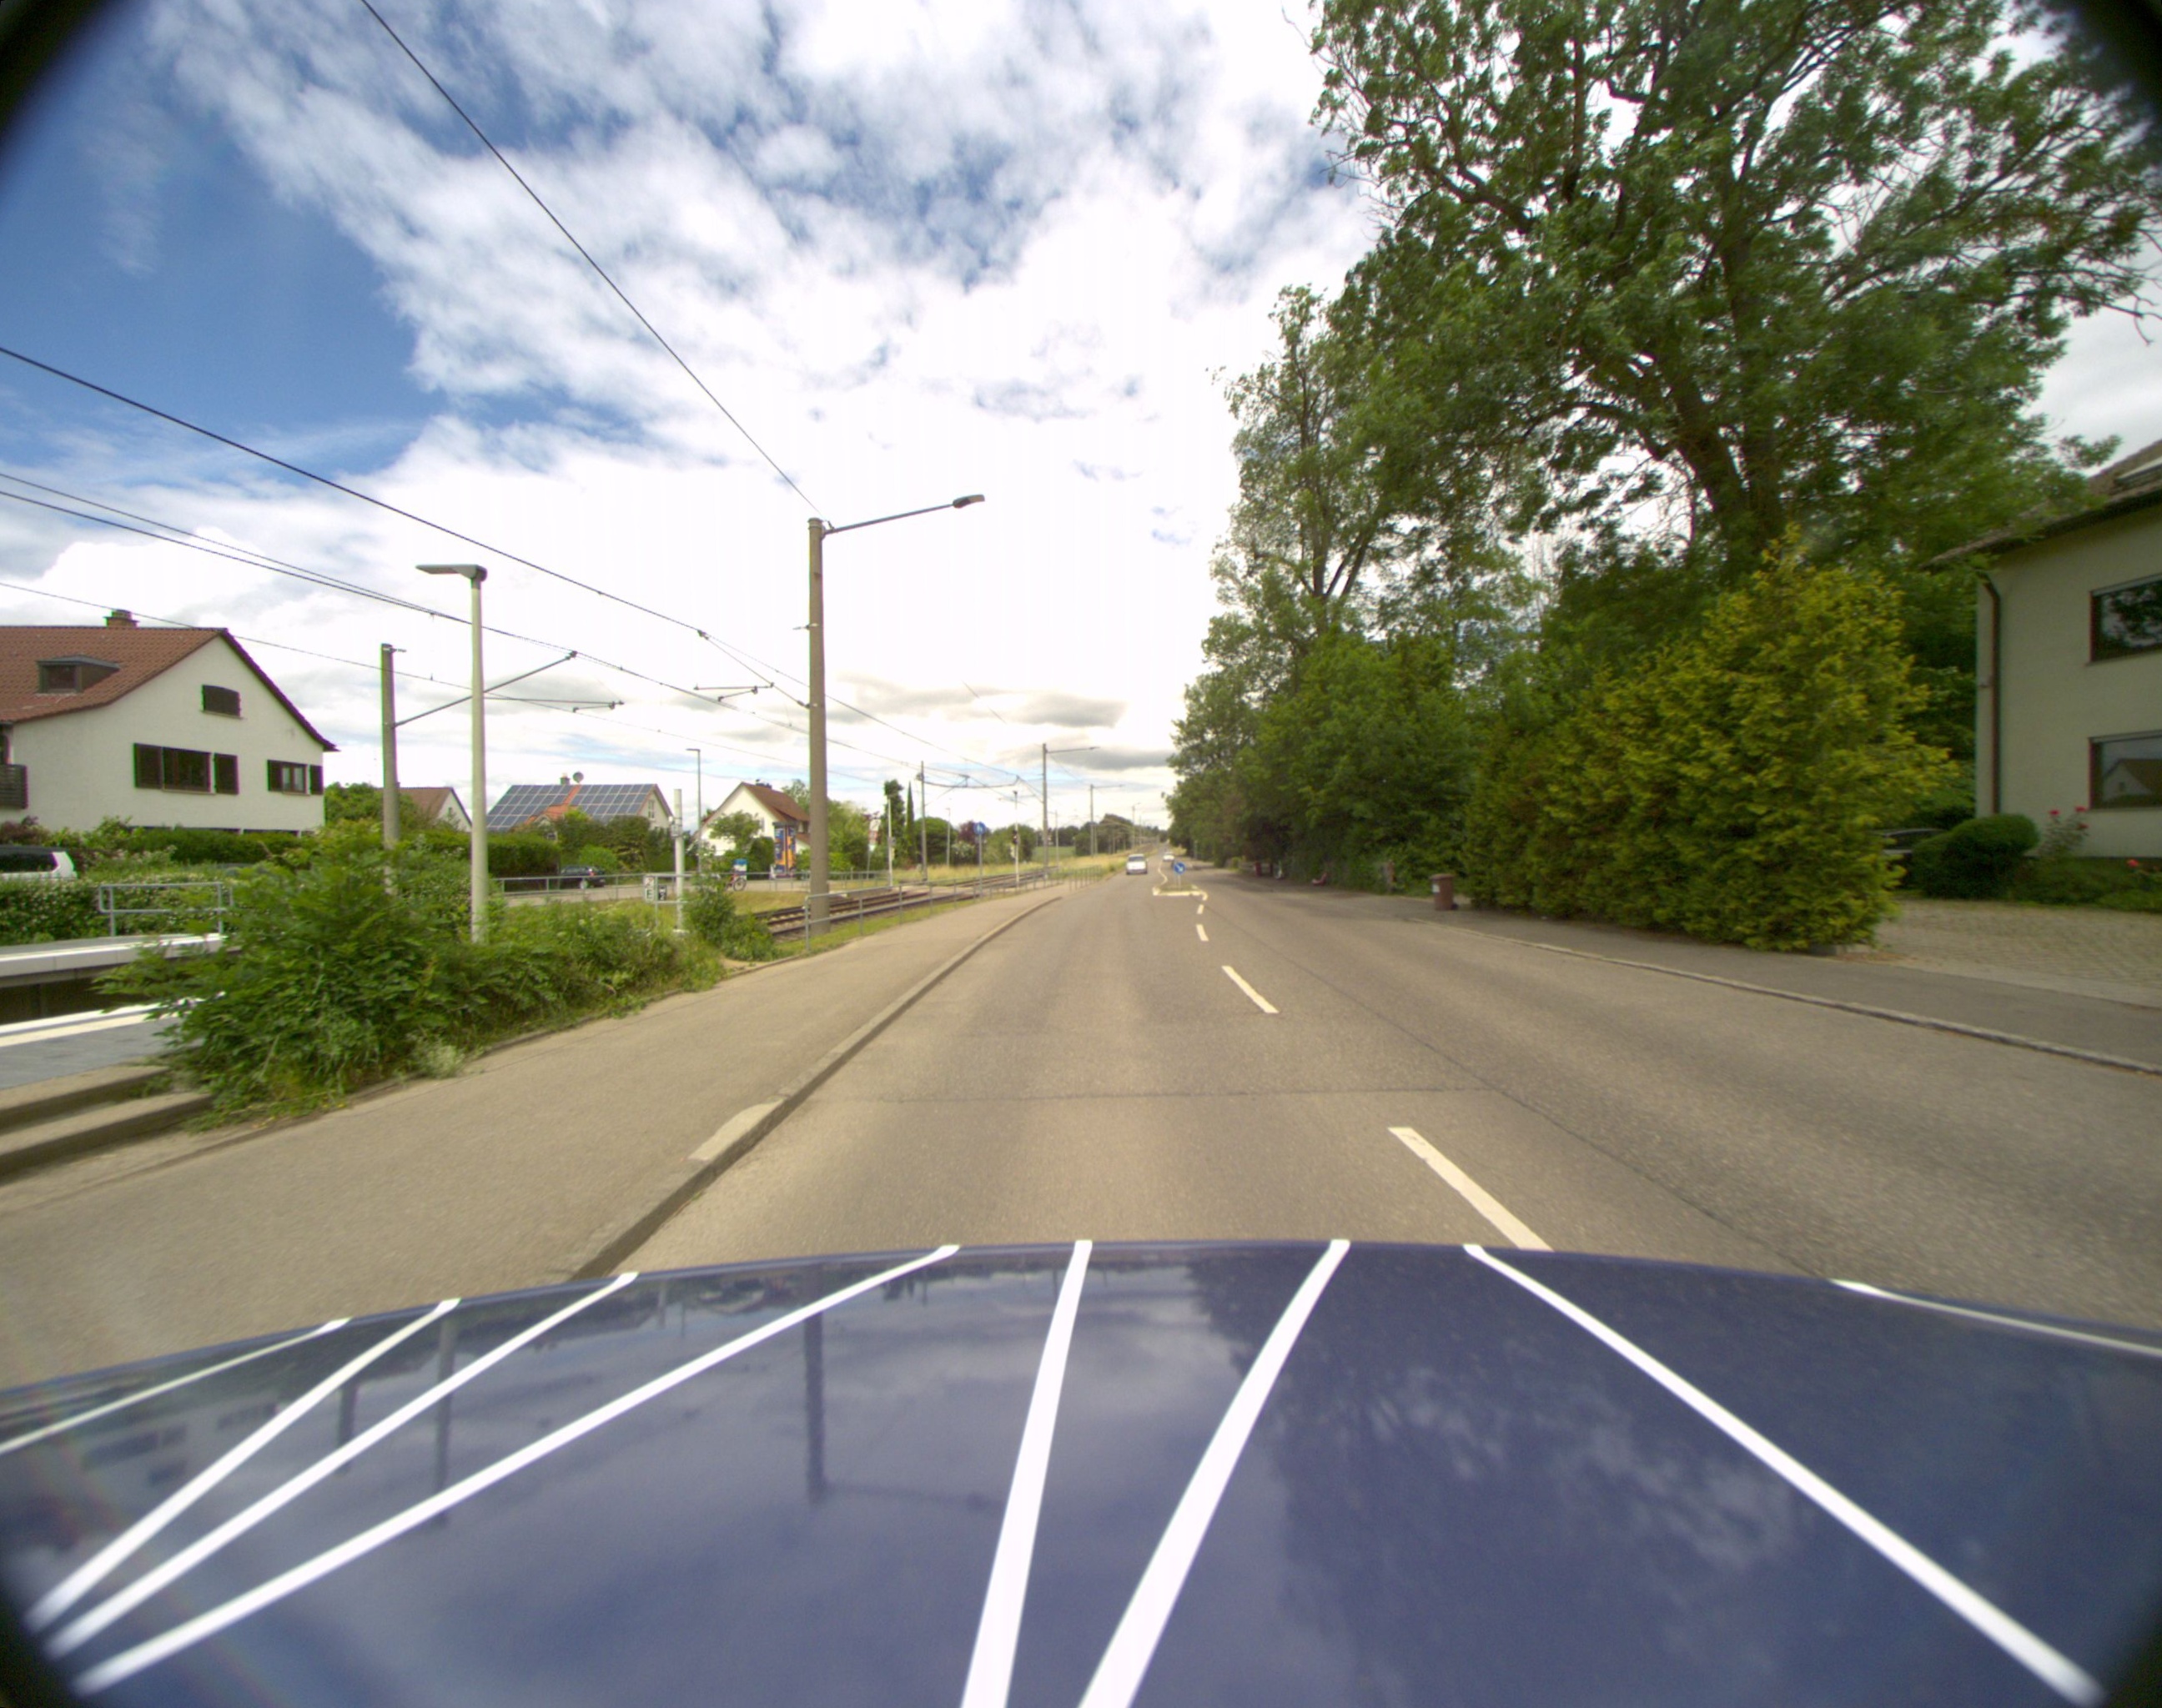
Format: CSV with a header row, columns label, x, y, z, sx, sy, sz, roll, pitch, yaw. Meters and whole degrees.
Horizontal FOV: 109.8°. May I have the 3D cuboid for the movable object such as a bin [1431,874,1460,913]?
label,x,y,z,sx,sy,sz,roll,pitch,yaw
movable object such as a bin,9.286,0.997,19.362,0.464,0.925,0.429,-5,2,-11

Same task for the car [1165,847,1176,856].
label,x,y,z,sx,sy,sz,roll,pitch,yaw
car,14.442,-0.371,122.337,1.697,1.422,3.788,1,1,7

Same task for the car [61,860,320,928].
label,x,y,z,sx,sy,sz,roll,pitch,yaw
car,-23.226,0.966,20.090,1.887,1.513,4.002,-1,1,7

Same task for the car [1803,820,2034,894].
label,x,y,z,sx,sy,sz,roll,pitch,yaw
car,20.991,0.070,19.153,3.878,1.674,1.883,-2,1,-3

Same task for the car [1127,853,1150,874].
label,x,y,z,sx,sy,sz,roll,pitch,yaw
car,4.759,0.729,62.171,1.642,1.510,3.870,-3,1,7

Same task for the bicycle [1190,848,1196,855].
label,x,y,z,sx,sy,sz,roll,pitch,yaw
bicycle,18.350,-0.421,124.372,0.756,1.219,2.309,1,1,6

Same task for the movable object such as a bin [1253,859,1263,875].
label,x,y,z,sx,sy,sz,roll,pitch,yaw
movable object such as a bin,10.937,0.810,46.973,0.514,0.939,0.569,-2,1,6

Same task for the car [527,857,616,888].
label,x,y,z,sx,sy,sz,roll,pitch,yaw
car,-29.072,1.062,43.476,3.731,1.614,1.824,-1,1,-8

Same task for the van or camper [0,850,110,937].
label,x,y,z,sx,sy,sz,roll,pitch,yaw
van or camper,-23.749,0.873,15.190,1.909,1.815,5.049,-1,1,6

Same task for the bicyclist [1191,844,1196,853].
label,x,y,z,sx,sy,sz,roll,pitch,yaw
bicyclist,18.356,-0.880,124.457,0.780,1.540,0.870,-1,1,6

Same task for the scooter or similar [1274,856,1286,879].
label,x,y,z,sx,sy,sz,roll,pitch,yaw
scooter or similar,10.872,0.743,41.458,0.409,1.192,1.640,-1,1,7

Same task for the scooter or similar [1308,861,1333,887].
label,x,y,z,sx,sy,sz,roll,pitch,yaw
scooter or similar,10.468,0.850,33.213,0.479,1.074,1.212,-3,1,-12

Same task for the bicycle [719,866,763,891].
label,x,y,z,sx,sy,sz,roll,pitch,yaw
bicycle,-15.869,1.145,35.551,0.539,1.039,2.542,8,-1,7
